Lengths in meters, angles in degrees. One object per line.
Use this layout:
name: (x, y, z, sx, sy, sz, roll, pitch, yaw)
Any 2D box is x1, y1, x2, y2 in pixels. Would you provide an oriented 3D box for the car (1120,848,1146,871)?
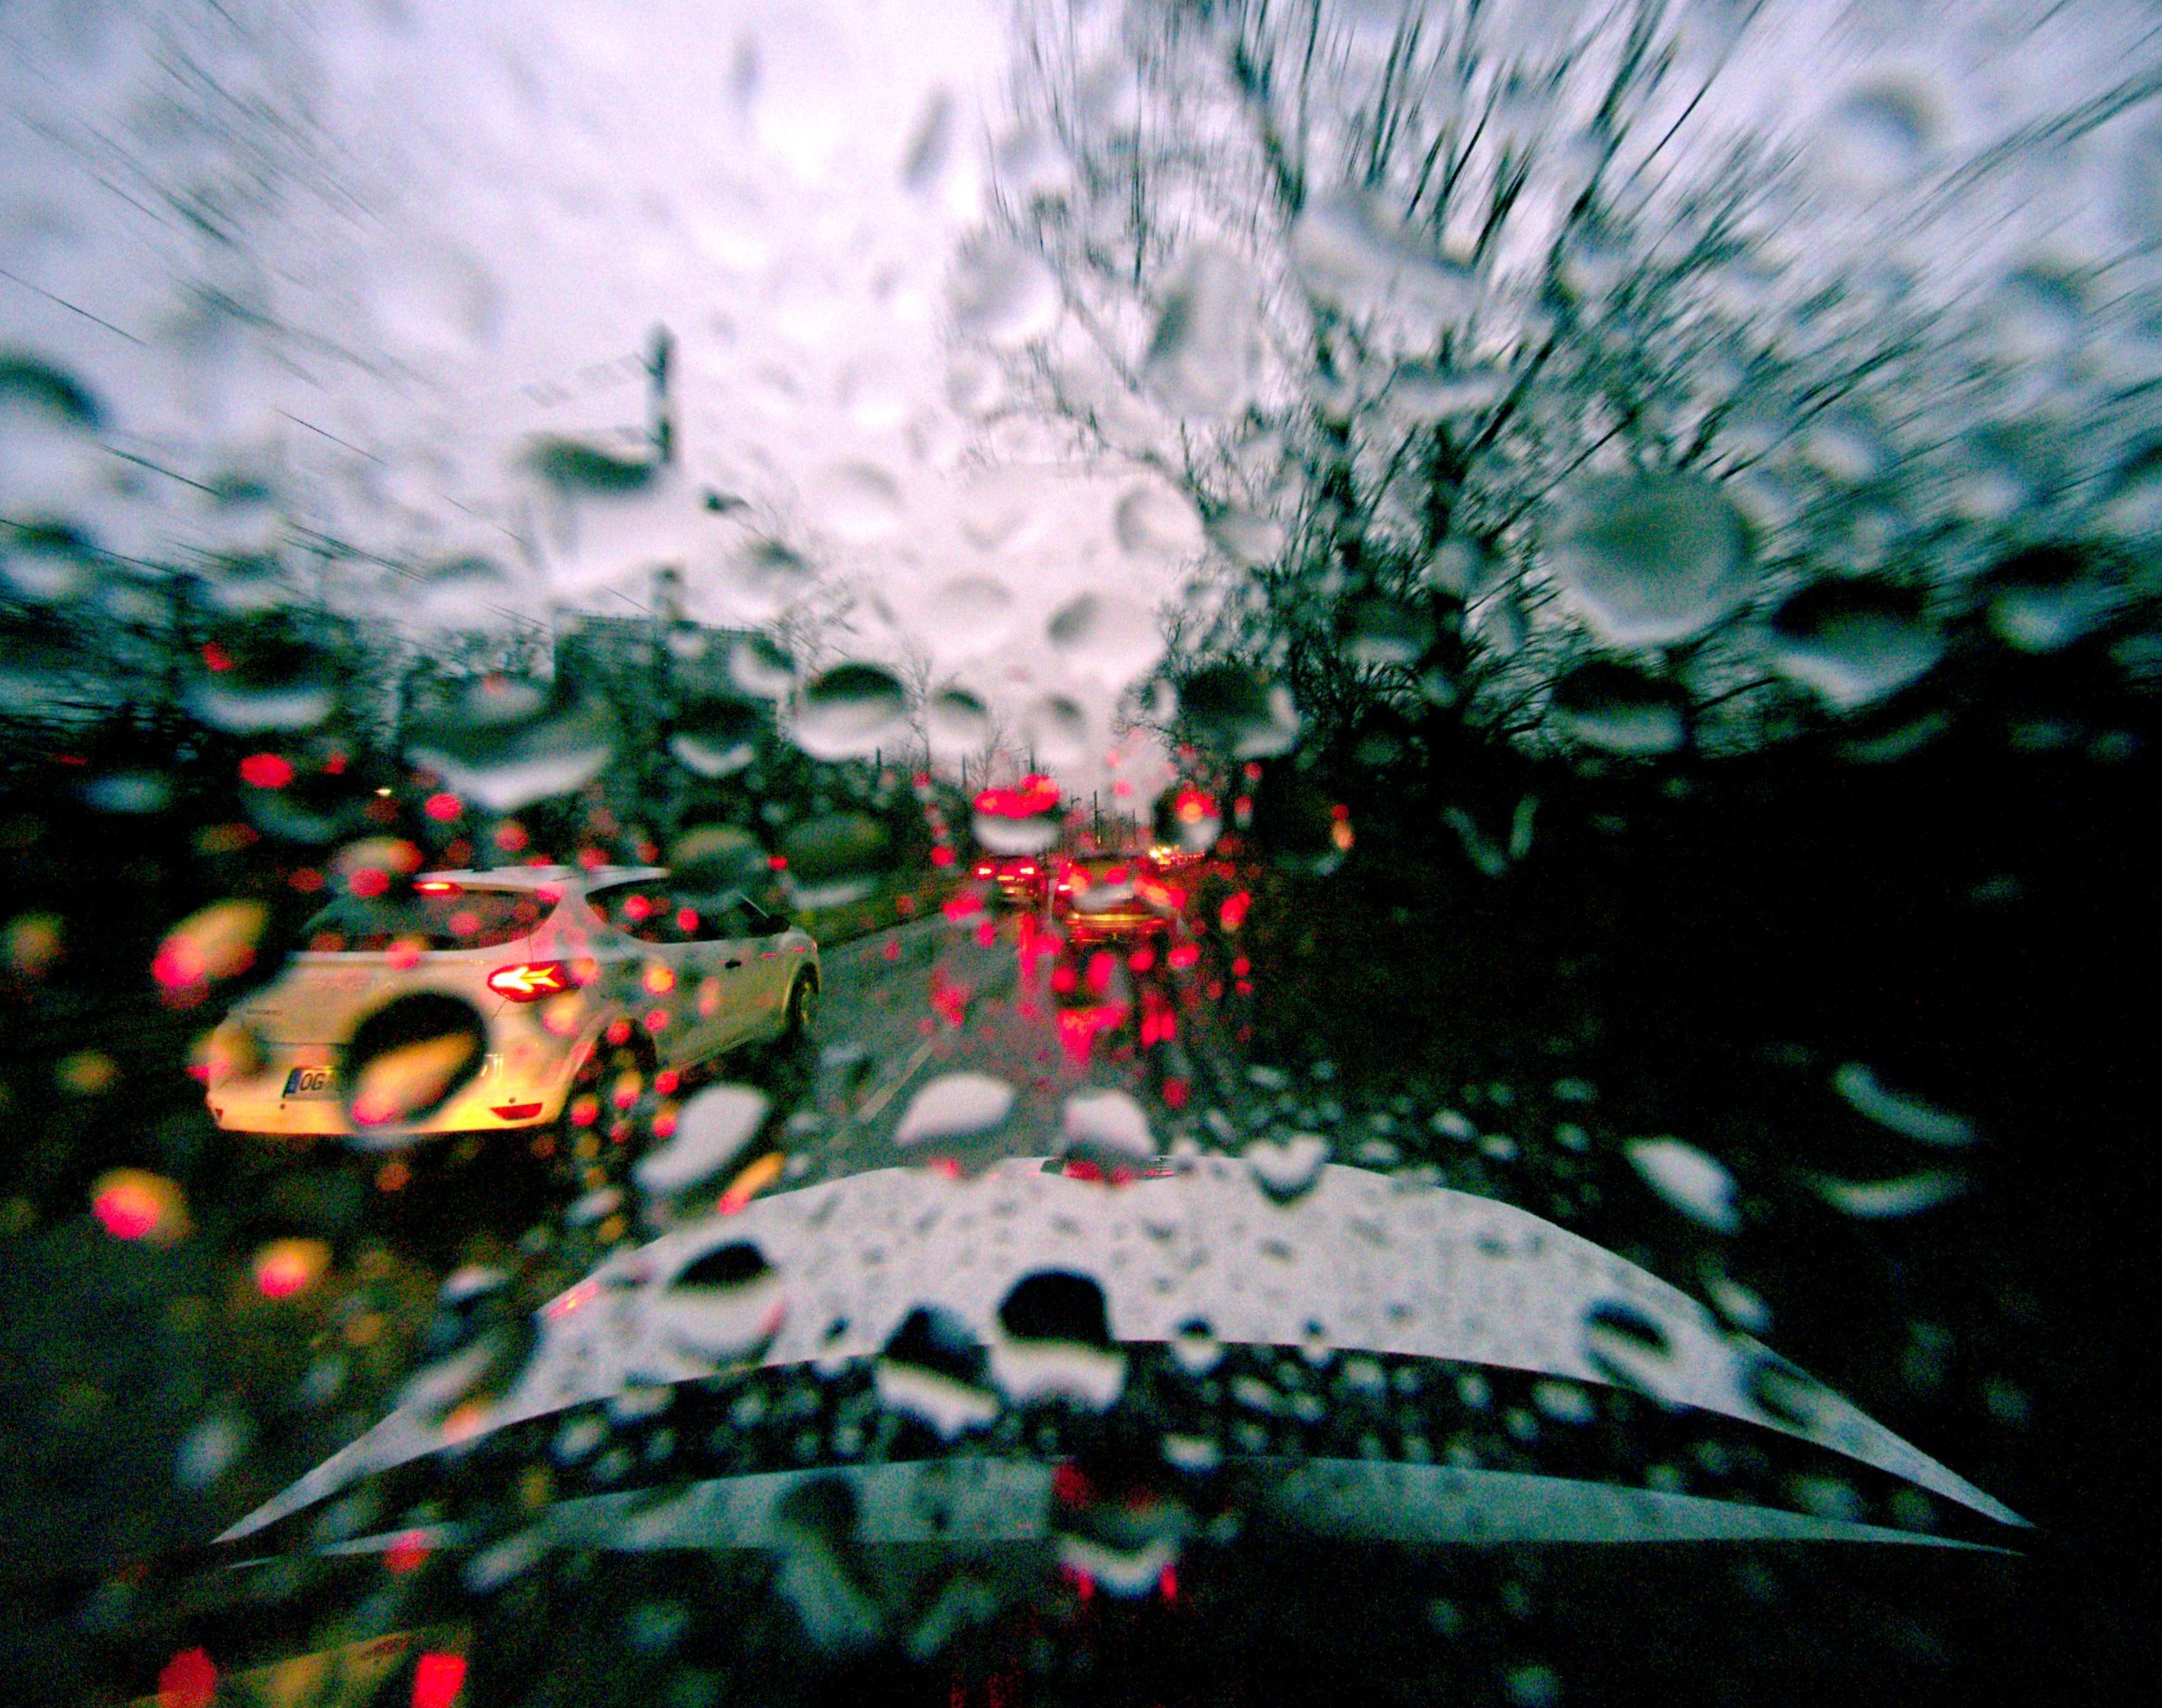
car: (3.790, 0.359, 59.143, 1.700, 1.558, 4.002, -2, 0, 5)

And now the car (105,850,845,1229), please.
car: (-3.110, 0.765, 5.432, 1.702, 1.525, 4.136, -2, 0, 2)

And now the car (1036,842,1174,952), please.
car: (0.400, 0.610, 13.978, 1.991, 1.584, 4.001, -1, 0, 1)

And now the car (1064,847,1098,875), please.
car: (0.013, 0.387, 51.047, 1.872, 1.593, 4.003, -2, 1, 3)

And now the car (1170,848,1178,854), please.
car: (28.343, -0.844, 247.229, 1.981, 1.666, 3.848, -2, 0, 11)

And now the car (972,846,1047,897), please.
car: (-2.208, 0.502, 26.193, 1.873, 1.459, 4.002, -2, 1, 2)
